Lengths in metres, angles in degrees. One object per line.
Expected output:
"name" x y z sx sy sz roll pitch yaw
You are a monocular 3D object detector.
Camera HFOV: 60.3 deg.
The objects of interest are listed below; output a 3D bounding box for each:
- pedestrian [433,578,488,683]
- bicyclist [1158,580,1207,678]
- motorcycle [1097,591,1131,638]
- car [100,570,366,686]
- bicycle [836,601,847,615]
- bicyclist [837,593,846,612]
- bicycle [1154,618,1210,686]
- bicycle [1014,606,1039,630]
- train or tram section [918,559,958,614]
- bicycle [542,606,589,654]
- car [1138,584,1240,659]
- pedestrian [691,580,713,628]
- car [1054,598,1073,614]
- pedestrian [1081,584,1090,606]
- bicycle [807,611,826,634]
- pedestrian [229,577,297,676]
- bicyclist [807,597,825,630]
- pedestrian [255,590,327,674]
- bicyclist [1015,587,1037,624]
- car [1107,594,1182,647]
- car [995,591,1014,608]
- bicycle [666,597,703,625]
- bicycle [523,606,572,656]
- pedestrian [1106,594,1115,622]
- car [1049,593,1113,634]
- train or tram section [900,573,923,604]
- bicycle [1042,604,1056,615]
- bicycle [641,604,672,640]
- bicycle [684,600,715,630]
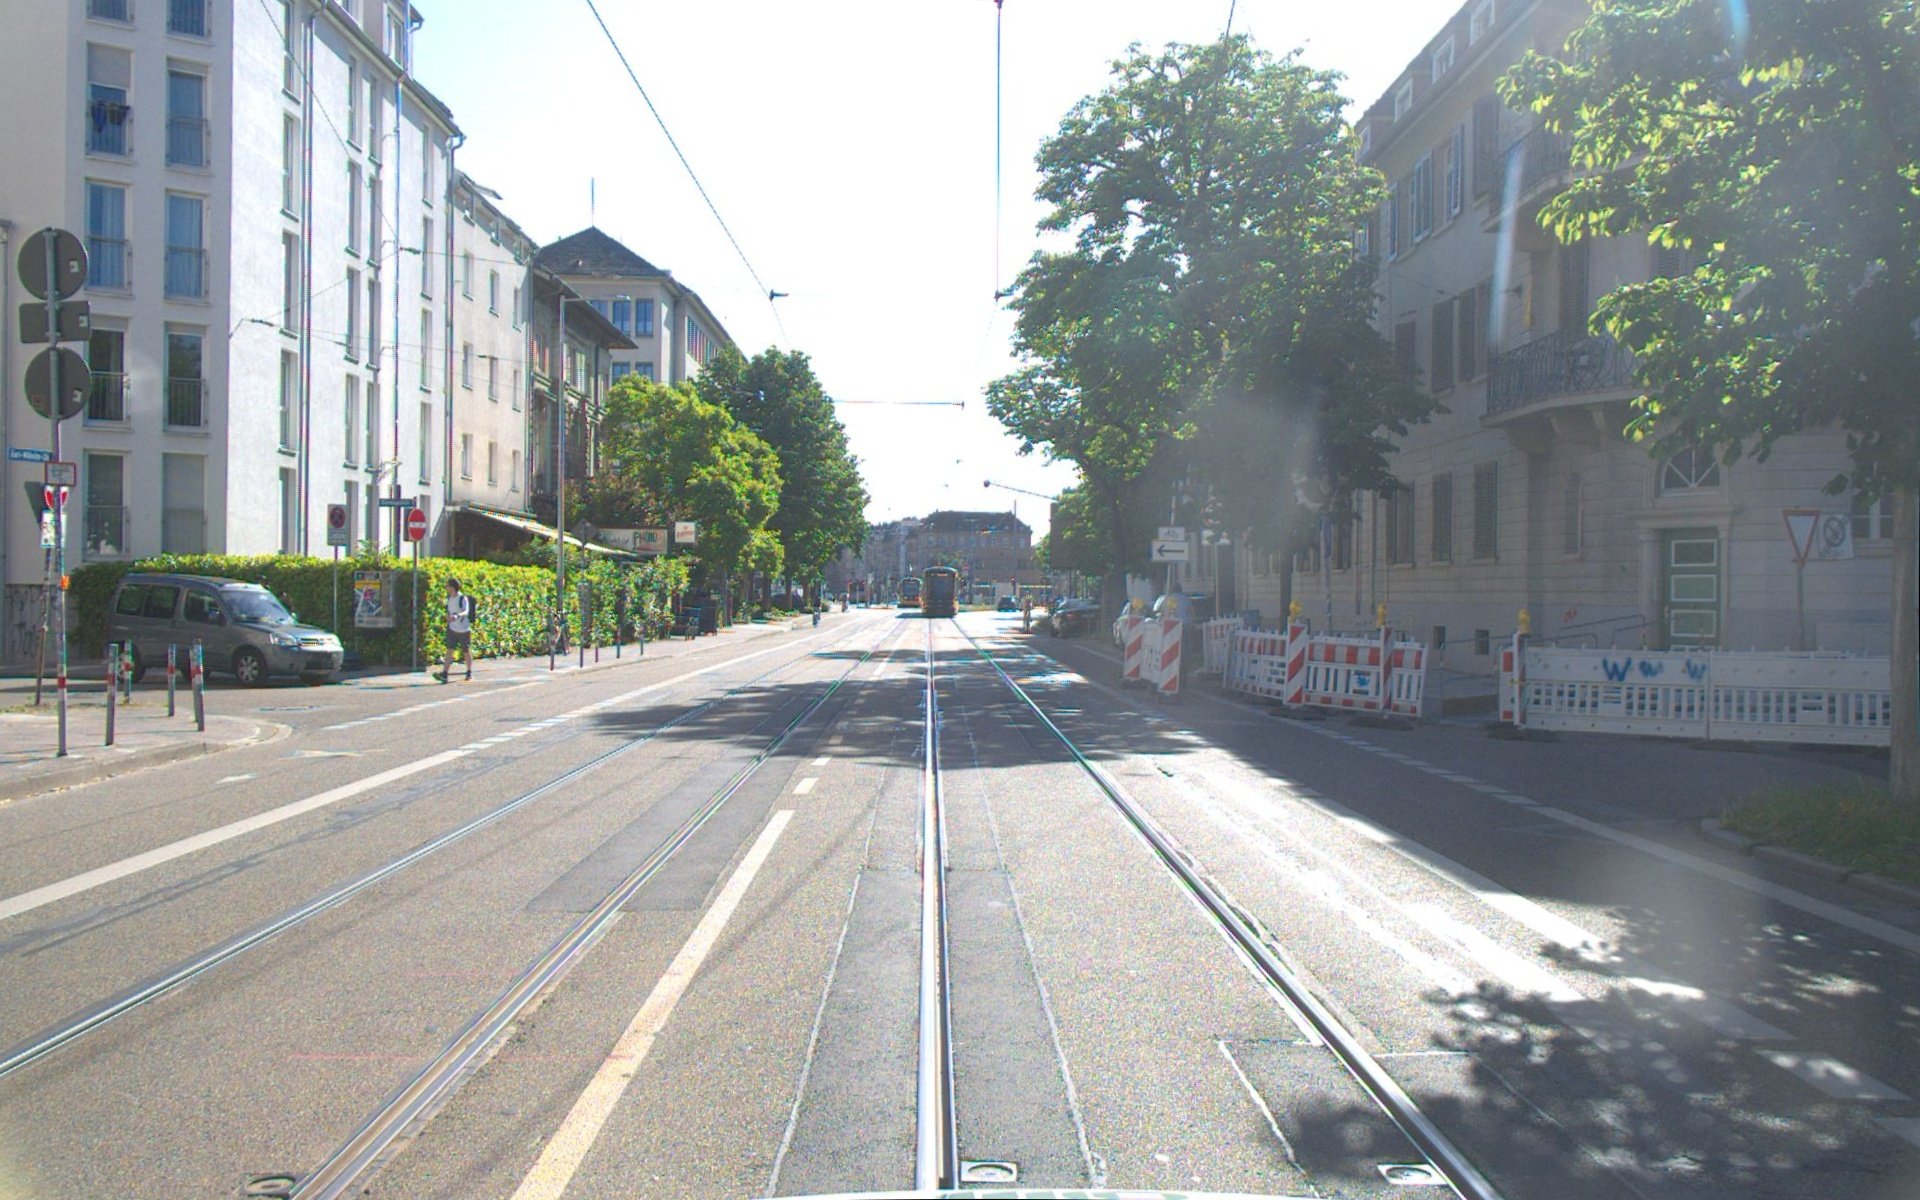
"pedestrian" -8.696 0.518 28.808 0.677 1.799 0.866 0 0 0
"bicyclist" 3.996 0.510 29.800 0.723 1.715 0.972 2 0 1
"motorcycle" 5.215 0.479 56.102 0.895 1.514 2.679 -2 0 0
"car" -12.258 0.469 27.919 3.957 1.839 1.792 0 -1 20
"bicycle" -10.420 0.704 145.611 0.672 1.144 1.932 -1 0 3
"bicyclist" -10.435 0.209 145.593 0.672 1.673 1.238 -1 0 3
"bicycle" 3.984 0.913 29.769 0.723 1.113 2.111 2 0 1
"bicycle" 3.113 0.839 77.848 0.690 1.124 1.718 2 1 18
"train or tram section" -1.664 -1.005 120.436 2.687 3.715 13.781 1 1 -2
"bicycle" -9.691 0.737 40.701 0.648 1.108 1.840 3 -1 0
"car" 5.464 0.483 40.013 1.773 1.654 4.583 -2 0 0
"pedestrian" -9.932 0.157 63.764 0.563 1.863 0.690 1 0 18
"car" 10.387 0.563 166.167 1.752 1.537 3.713 2 1 1
"pedestrian" 11.194 -0.407 147.507 0.624 1.937 1.134 -2 0 0
"bicycle" -7.404 1.150 85.372 0.730 1.101 1.899 -3 0 0
"pedestrian" -12.675 0.476 30.104 0.789 1.744 0.757 2 0 18
"bicyclist" -7.422 0.697 85.373 0.730 1.627 1.118 -3 0 0
"pedestrian" -12.466 0.595 30.843 0.934 1.503 0.757 2 0 18
"bicyclist" 3.104 0.274 77.759 0.690 1.704 1.102 2 1 18
"car" 5.296 0.558 47.918 1.688 1.406 4.356 -1 0 1
"car" 4.477 -0.040 164.809 1.751 1.632 3.714 2 1 3
"bicycle" -10.658 0.436 64.015 0.623 1.064 2.023 1 0 15
"bicycle" -9.646 0.714 38.720 0.648 1.108 1.840 3 -1 0
"pedestrian" 8.715 0.471 95.781 0.507 1.628 0.765 0 0 2
"car" 4.652 0.491 64.221 1.786 1.484 4.814 -1 0 -4
"train or tram section" -5.885 -1.419 201.683 2.687 3.715 13.781 1 1 -2
"bicycle" 9.056 0.933 168.217 0.691 1.073 2.313 3 1 23
"bicycle" -9.756 0.702 53.203 0.625 1.077 1.743 3 0 0
"bicycle" -10.330 0.594 65.619 0.632 1.163 1.906 3 0 7
